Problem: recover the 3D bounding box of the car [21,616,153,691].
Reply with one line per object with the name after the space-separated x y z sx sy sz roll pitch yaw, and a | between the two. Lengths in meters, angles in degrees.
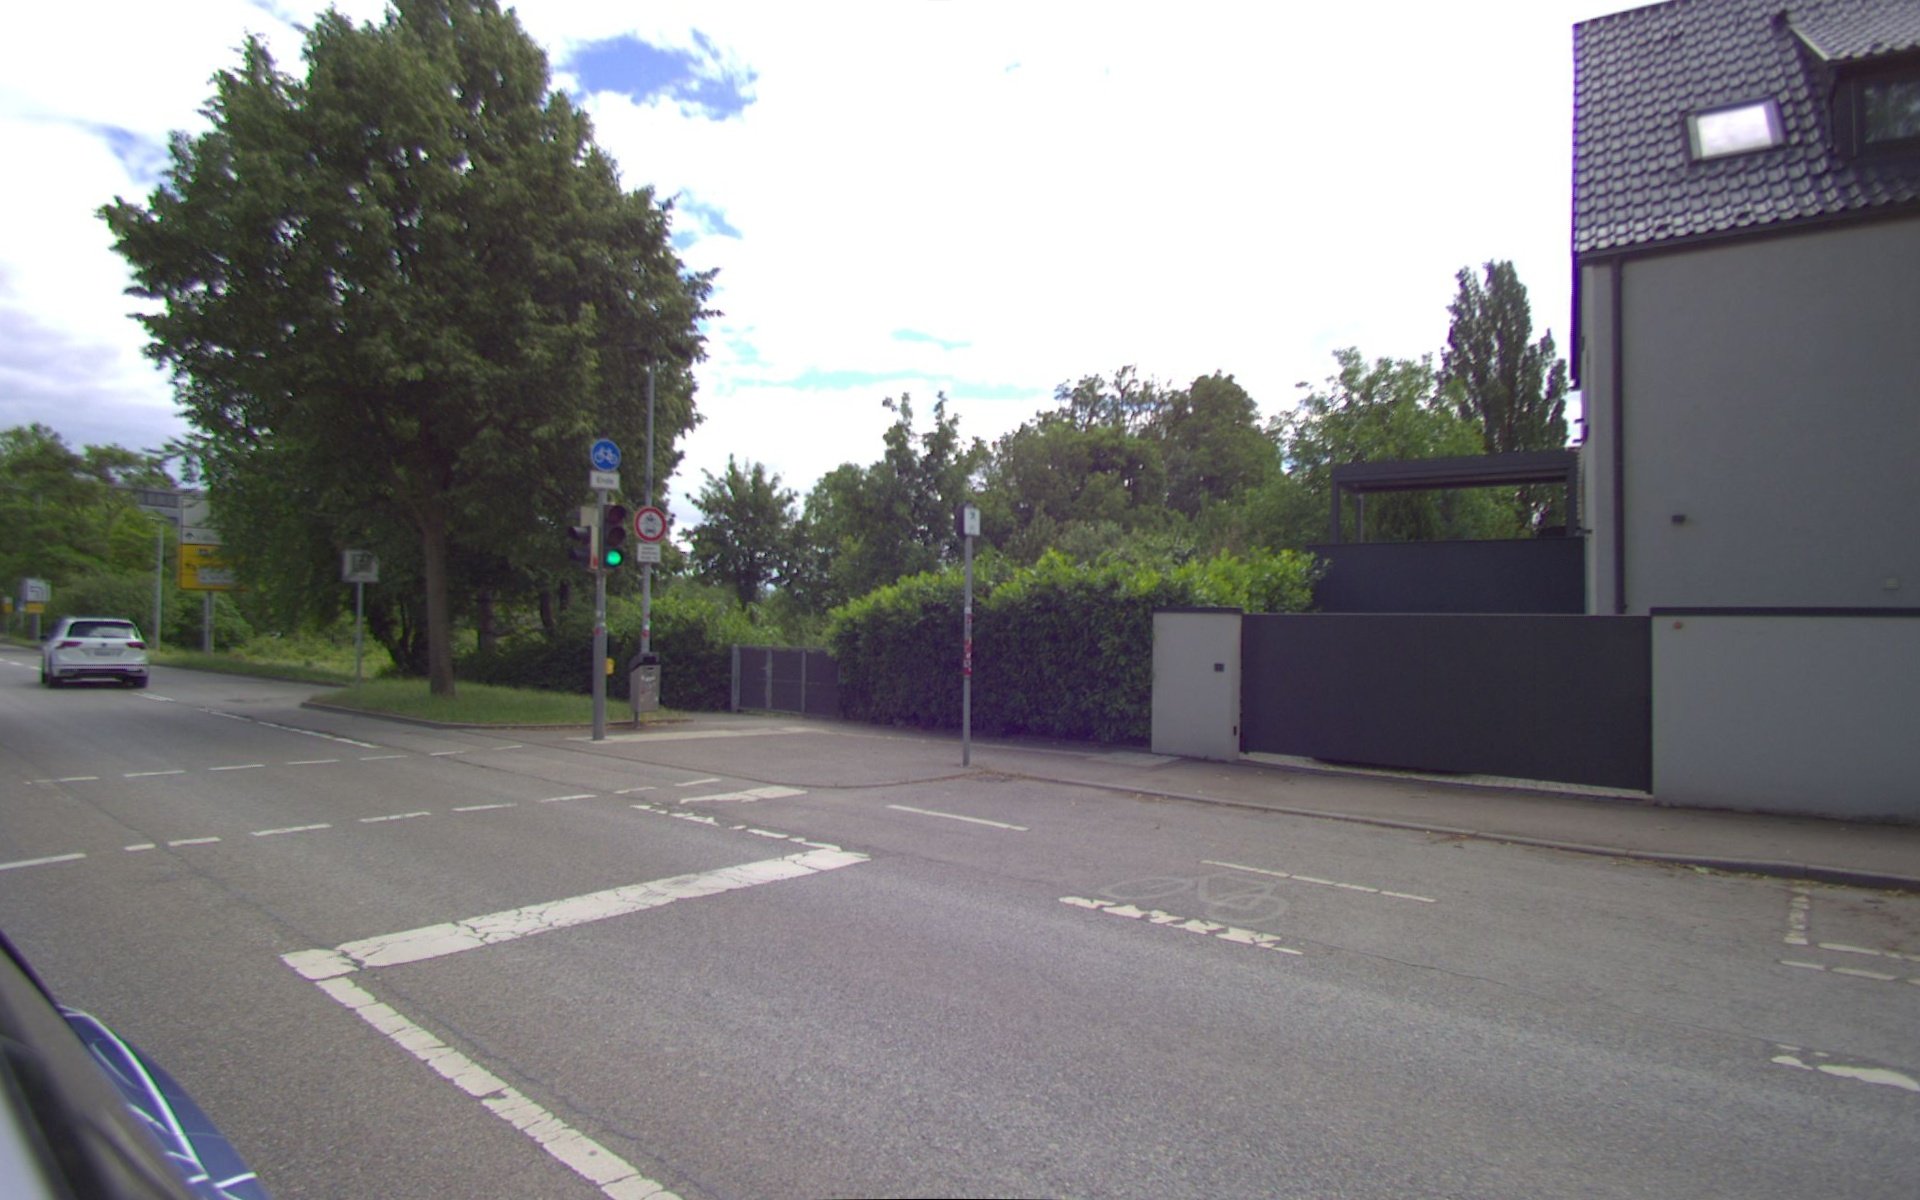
-21.295 1.279 24.626 4.339 1.647 1.855 -1 -4 42 | car
